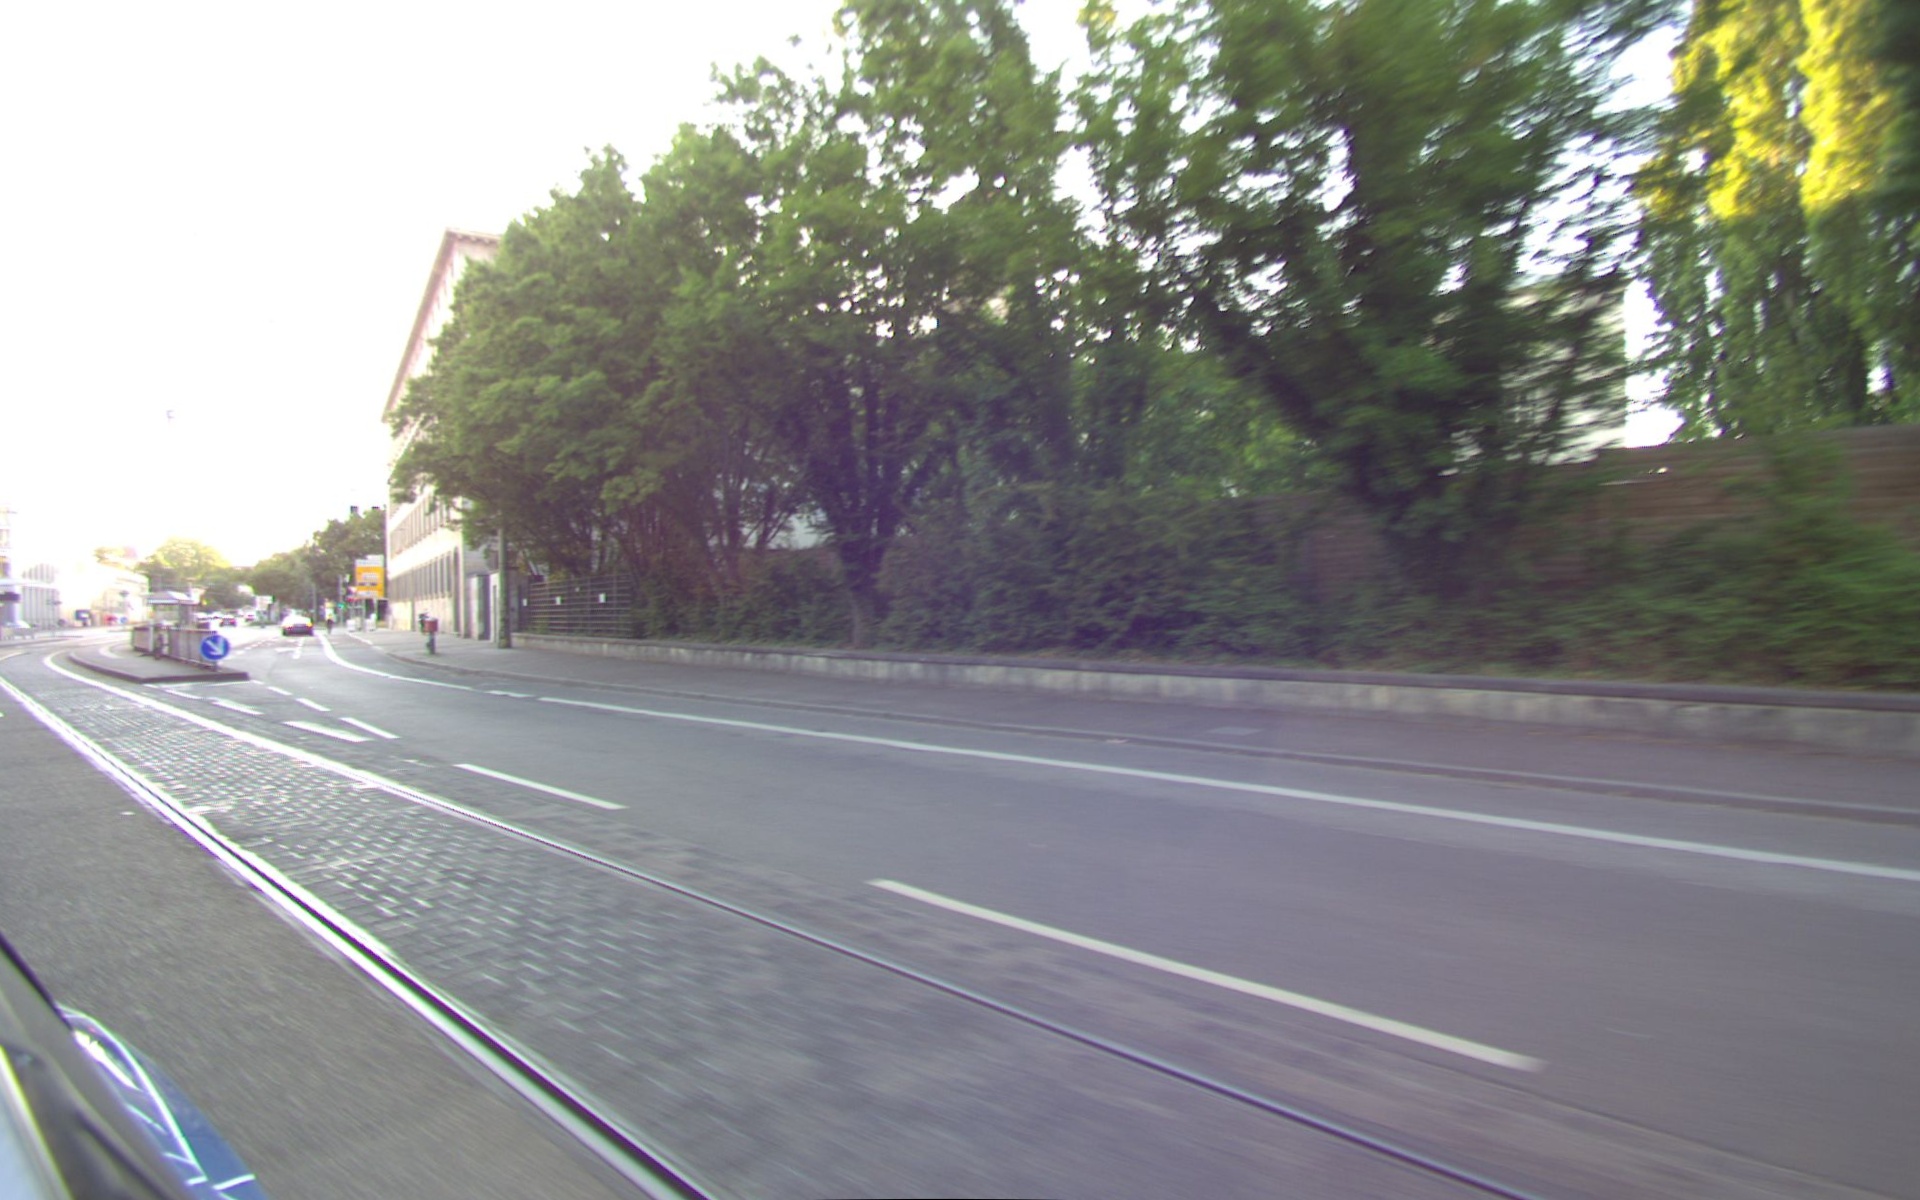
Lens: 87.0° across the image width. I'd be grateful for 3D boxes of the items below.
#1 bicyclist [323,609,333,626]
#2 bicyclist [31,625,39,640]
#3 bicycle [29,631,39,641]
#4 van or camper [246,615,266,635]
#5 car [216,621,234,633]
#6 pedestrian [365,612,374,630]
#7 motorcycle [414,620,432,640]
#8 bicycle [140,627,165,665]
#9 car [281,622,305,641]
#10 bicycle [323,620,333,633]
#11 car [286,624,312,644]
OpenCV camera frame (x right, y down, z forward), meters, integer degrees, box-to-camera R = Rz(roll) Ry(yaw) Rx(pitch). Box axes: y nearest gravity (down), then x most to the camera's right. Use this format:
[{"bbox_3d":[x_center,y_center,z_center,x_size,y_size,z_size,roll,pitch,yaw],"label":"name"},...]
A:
[{"bbox_3d":[-54.316,1.510,86.985,0.746,1.451,0.598,-1,-1,-33],"label":"bicyclist"},{"bbox_3d":[-101.378,3.589,110.891,0.532,1.648,0.598,-1,-1,-33],"label":"bicyclist"},{"bbox_3d":[-101.065,3.906,110.436,0.531,1.059,1.766,-1,-1,-32],"label":"bicycle"},{"bbox_3d":[-104.648,3.775,150.563,2.076,2.702,4.723,-2,-2,-31],"label":"van or camper"},{"bbox_3d":[-98.137,3.592,135.205,1.670,1.431,4.185,-1,0,-33],"label":"car"},{"bbox_3d":[-57.043,2.042,97.736,0.686,1.723,0.648,-1,-1,-30],"label":"pedestrian"},{"bbox_3d":[-30.900,1.719,58.225,0.689,1.083,2.661,0,-1,-33],"label":"motorcycle"},{"bbox_3d":[-23.895,1.346,29.938,0.457,1.083,2.024,0,-1,-42],"label":"bicycle"},{"bbox_3d":[-55.372,2.603,84.051,1.620,1.438,4.244,-1,-1,-33],"label":"car"},{"bbox_3d":[-54.279,2.285,86.949,0.731,1.025,1.766,-1,-1,-32],"label":"bicycle"},{"bbox_3d":[-51.597,2.630,79.006,1.620,1.438,3.715,-2,0,-33],"label":"car"}]
